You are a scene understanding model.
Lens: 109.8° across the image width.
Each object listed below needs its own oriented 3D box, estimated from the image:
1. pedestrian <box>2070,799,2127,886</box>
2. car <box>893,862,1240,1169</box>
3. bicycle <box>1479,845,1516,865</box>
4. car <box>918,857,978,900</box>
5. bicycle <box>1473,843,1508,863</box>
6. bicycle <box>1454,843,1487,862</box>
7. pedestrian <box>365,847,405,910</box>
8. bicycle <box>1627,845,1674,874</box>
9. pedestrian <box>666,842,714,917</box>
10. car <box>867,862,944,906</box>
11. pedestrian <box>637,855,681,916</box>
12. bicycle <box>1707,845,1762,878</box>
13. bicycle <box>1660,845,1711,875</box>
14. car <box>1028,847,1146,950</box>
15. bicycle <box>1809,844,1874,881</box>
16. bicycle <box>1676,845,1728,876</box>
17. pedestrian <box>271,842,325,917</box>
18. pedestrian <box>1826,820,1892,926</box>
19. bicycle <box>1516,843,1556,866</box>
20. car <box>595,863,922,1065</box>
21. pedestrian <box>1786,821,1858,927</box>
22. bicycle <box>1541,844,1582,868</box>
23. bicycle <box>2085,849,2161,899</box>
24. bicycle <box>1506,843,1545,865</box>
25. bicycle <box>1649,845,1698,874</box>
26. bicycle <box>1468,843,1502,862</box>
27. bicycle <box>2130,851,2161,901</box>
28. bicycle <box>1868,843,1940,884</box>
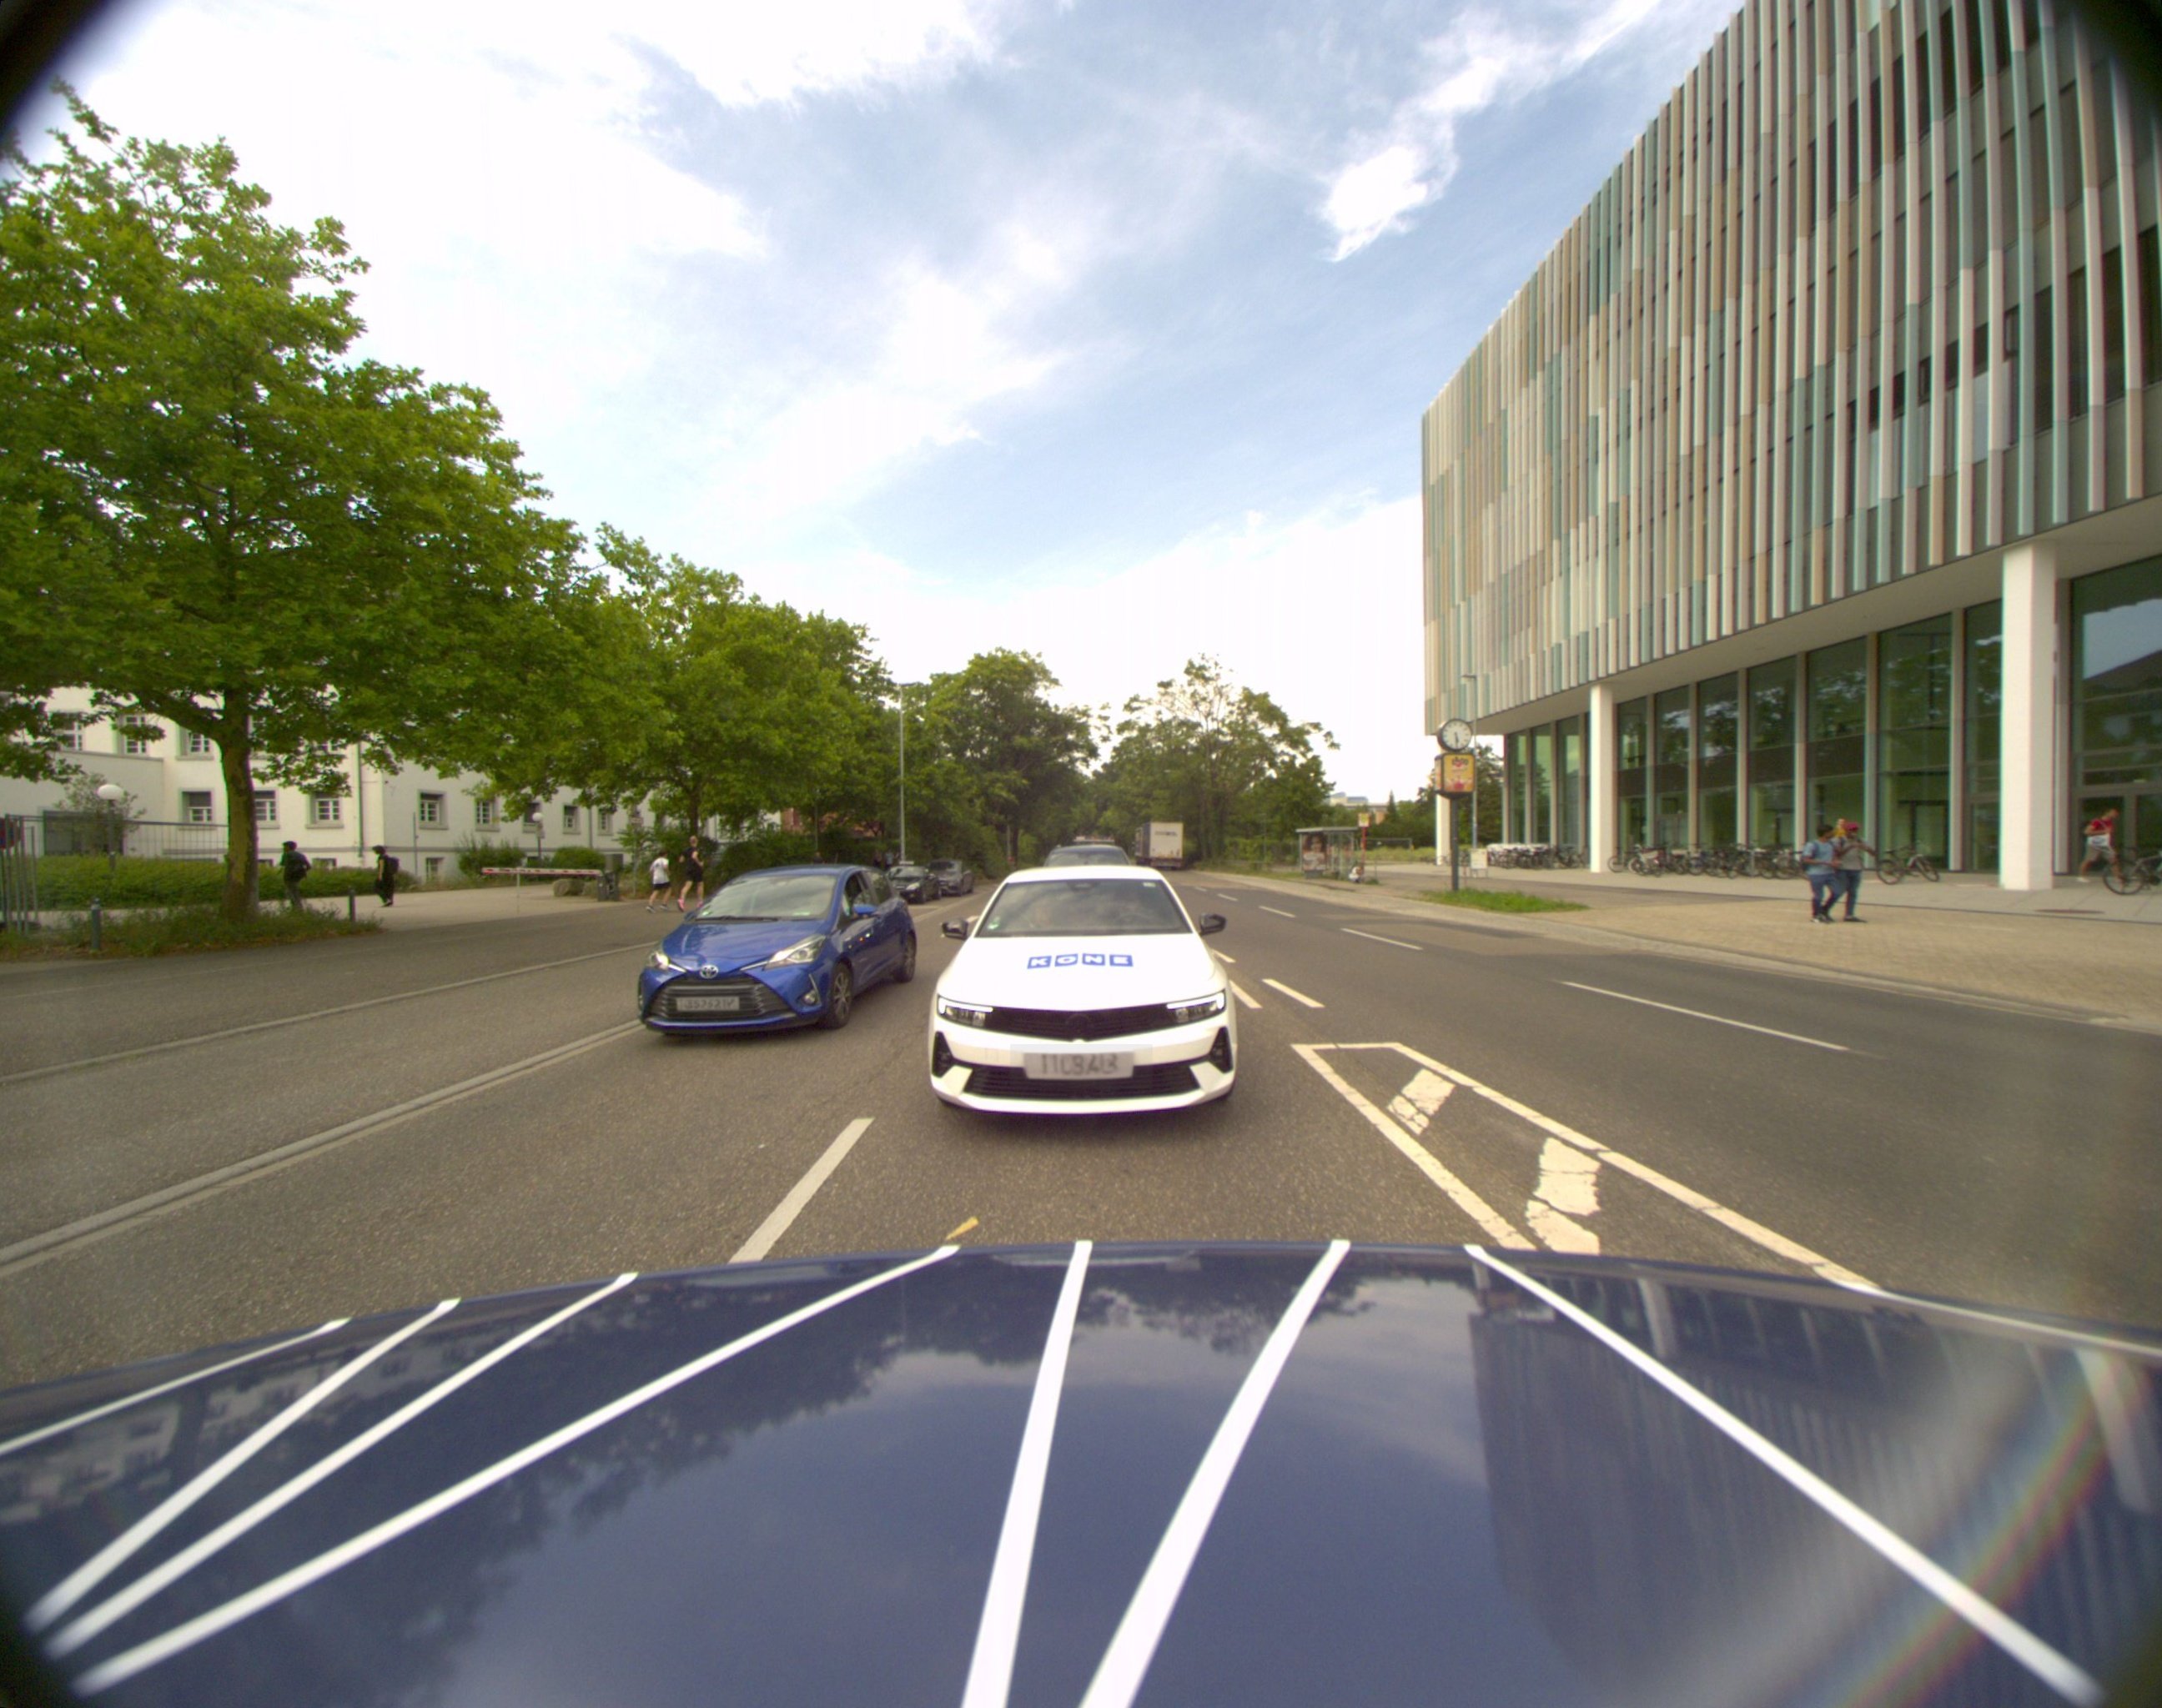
[{"bbox_3d":[24.262,-0.276,18.122,0.512,2.032,0.625,-1,0,6],"label":"pedestrian"},{"bbox_3d":[-0.041,0.855,6.263,1.744,1.430,4.782,-1,1,1],"label":"car"},{"bbox_3d":[22.251,0.056,40.595,1.703,1.017,0.434,-3,1,-4],"label":"bicycle"},{"bbox_3d":[-5.270,0.912,30.558,1.606,1.454,4.017,3,1,1],"label":"car"},{"bbox_3d":[22.501,-0.057,41.783,1.703,1.017,0.434,-3,1,-4],"label":"bicycle"},{"bbox_3d":[22.626,-0.106,44.140,1.703,1.017,0.434,-3,1,-4],"label":"bicycle"},{"bbox_3d":[-19.725,0.687,21.542,0.530,1.743,0.594,-1,1,5],"label":"pedestrian"},{"bbox_3d":[22.129,0.216,29.520,1.581,1.017,0.389,-3,1,-4],"label":"bicycle"},{"bbox_3d":[-10.205,0.644,19.849,0.798,1.922,0.760,-1,1,1],"label":"pedestrian"},{"bbox_3d":[-5.890,0.975,25.932,1.703,1.361,3.833,-1,-1,1],"label":"car"},{"bbox_3d":[-10.997,0.805,19.816,0.646,1.556,0.804,-1,1,1],"label":"pedestrian"},{"bbox_3d":[22.004,0.238,25.585,1.581,1.017,0.389,-3,1,-4],"label":"bicycle"},{"bbox_3d":[22.127,0.206,27.810,1.581,1.017,0.389,-3,1,-4],"label":"bicycle"},{"bbox_3d":[0.123,0.753,14.918,1.904,1.639,4.645,-2,0,1],"label":"car"},{"bbox_3d":[22.543,0.238,22.533,1.581,1.017,0.389,-3,1,-4],"label":"bicycle"},{"bbox_3d":[22.179,0.221,27.158,1.581,1.017,0.389,-3,1,-4],"label":"bicycle"},{"bbox_3d":[-18.339,0.591,17.805,0.586,1.729,0.594,-1,1,2],"label":"pedestrian"},{"bbox_3d":[13.753,0.328,13.447,0.512,1.827,0.624,-1,0,1],"label":"pedestrian"},{"bbox_3d":[22.335,0.015,37.304,1.703,1.017,0.434,-3,1,-4],"label":"bicycle"},{"bbox_3d":[-2.945,0.892,7.913,1.703,1.485,3.831,-1,1,1],"label":"car"},{"bbox_3d":[13.219,0.348,13.570,0.512,1.827,0.772,-1,0,1],"label":"pedestrian"},{"bbox_3d":[22.549,0.080,35.658,1.703,1.017,0.389,-3,1,-4],"label":"bicycle"},{"bbox_3d":[21.669,0.397,15.650,1.546,0.932,0.389,-3,1,-4],"label":"bicycle"},{"bbox_3d":[22.331,0.018,38.156,1.703,1.017,0.434,-3,1,-4],"label":"bicycle"},{"bbox_3d":[22.155,0.202,28.422,1.581,1.017,0.389,-3,1,-4],"label":"bicycle"},{"bbox_3d":[22.688,-0.080,42.657,1.703,1.017,0.434,-3,1,-4],"label":"bicycle"},{"bbox_3d":[21.684,0.410,14.981,1.546,0.932,0.394,-3,1,-4],"label":"bicycle"},{"bbox_3d":[22.176,0.254,20.484,1.581,1.017,0.389,-3,1,-4],"label":"bicycle"}]
